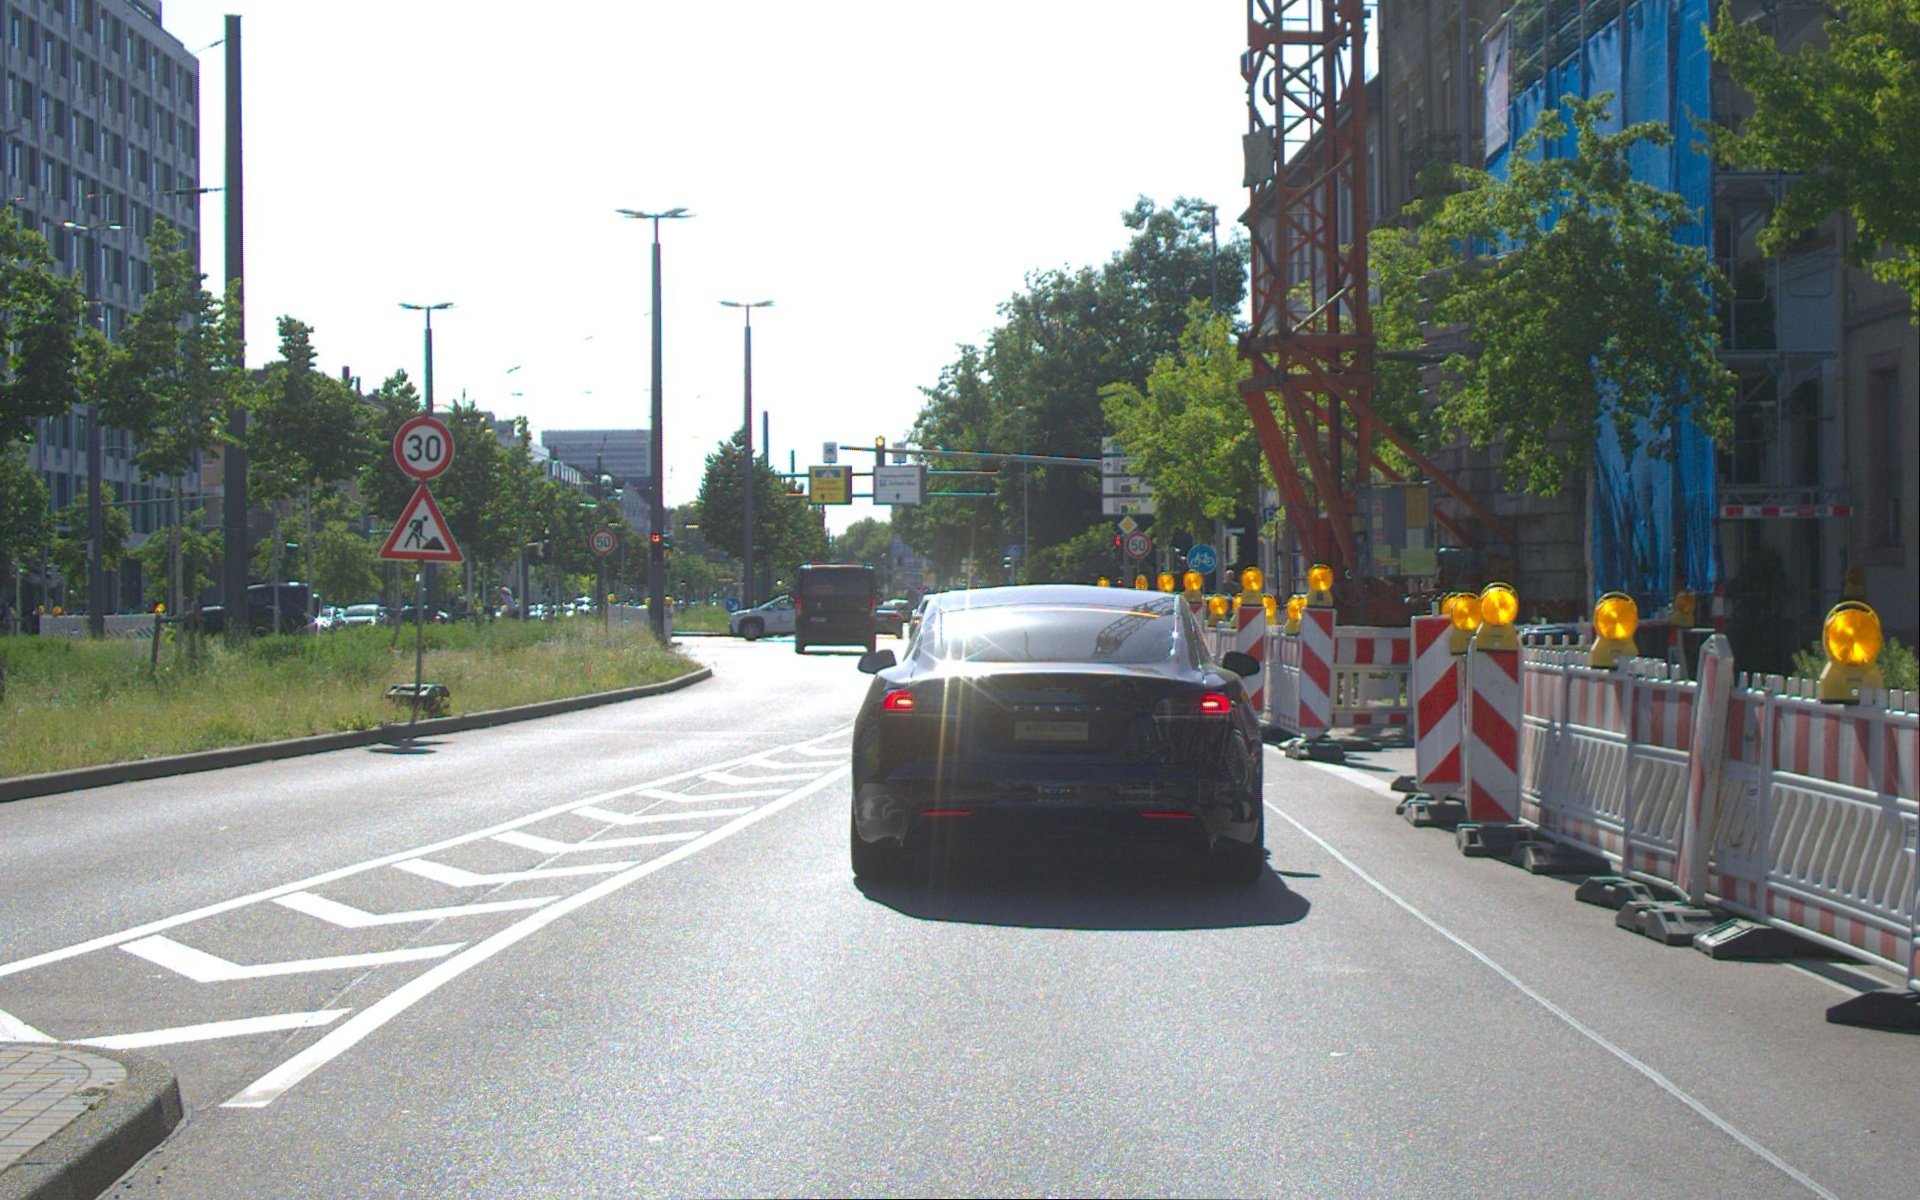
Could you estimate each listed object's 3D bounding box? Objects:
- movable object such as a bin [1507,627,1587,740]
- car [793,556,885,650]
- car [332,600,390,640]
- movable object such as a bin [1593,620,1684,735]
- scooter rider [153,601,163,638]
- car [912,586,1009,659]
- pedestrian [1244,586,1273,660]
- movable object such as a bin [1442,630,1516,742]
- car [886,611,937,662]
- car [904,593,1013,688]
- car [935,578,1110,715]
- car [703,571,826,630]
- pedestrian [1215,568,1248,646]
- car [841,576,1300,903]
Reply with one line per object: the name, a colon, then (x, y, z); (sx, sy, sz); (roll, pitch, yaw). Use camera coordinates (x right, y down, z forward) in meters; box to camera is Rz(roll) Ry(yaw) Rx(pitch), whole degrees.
movable object such as a bin: (5.730, 0.809, 33.585); (0.595, 1.054, 0.730); (-4, 0, 0)
car: (-3.049, 0.052, 86.849); (2.218, 2.259, 4.484); (1, 0, -2)
car: (-25.540, 0.840, 146.595); (1.790, 1.645, 4.000); (0, 0, 0)
movable object such as a bin: (6.608, 0.744, 33.506); (0.587, 1.054, 0.783); (-5, 1, -5)
scooter rider: (-30.943, 0.758, 132.668); (0.342, 1.448, 0.239); (0, 0, 0)
car: (-0.023, 0.468, 70.561); (1.791, 1.423, 3.850); (1, 0, -3)
pedestrian: (7.496, 0.573, 86.319); (0.563, 1.815, 0.587); (-3, 0, -1)
movable object such as a bin: (5.040, 0.833, 33.381); (0.587, 1.054, 0.730); (1, 0, 0)
car: (-1.868, 1.390, 131.972); (1.791, 1.867, 3.850); (1, 0, -3)
car: (-0.037, 0.650, 57.812); (1.749, 1.522, 4.005); (1, 0, 0)
car: (0.638, 0.479, 38.554); (1.747, 1.422, 4.838); (1, 0, -1)
car: (-6.386, 0.019, 112.341); (3.972, 1.912, 1.915); (0, 0, -3)
pedestrian: (6.823, 0.177, 86.294); (0.658, 1.906, 0.587); (-3, 0, -1)
car: (0.451, 0.628, 17.852); (2.051, 1.439, 4.524); (1, 0, -1)
